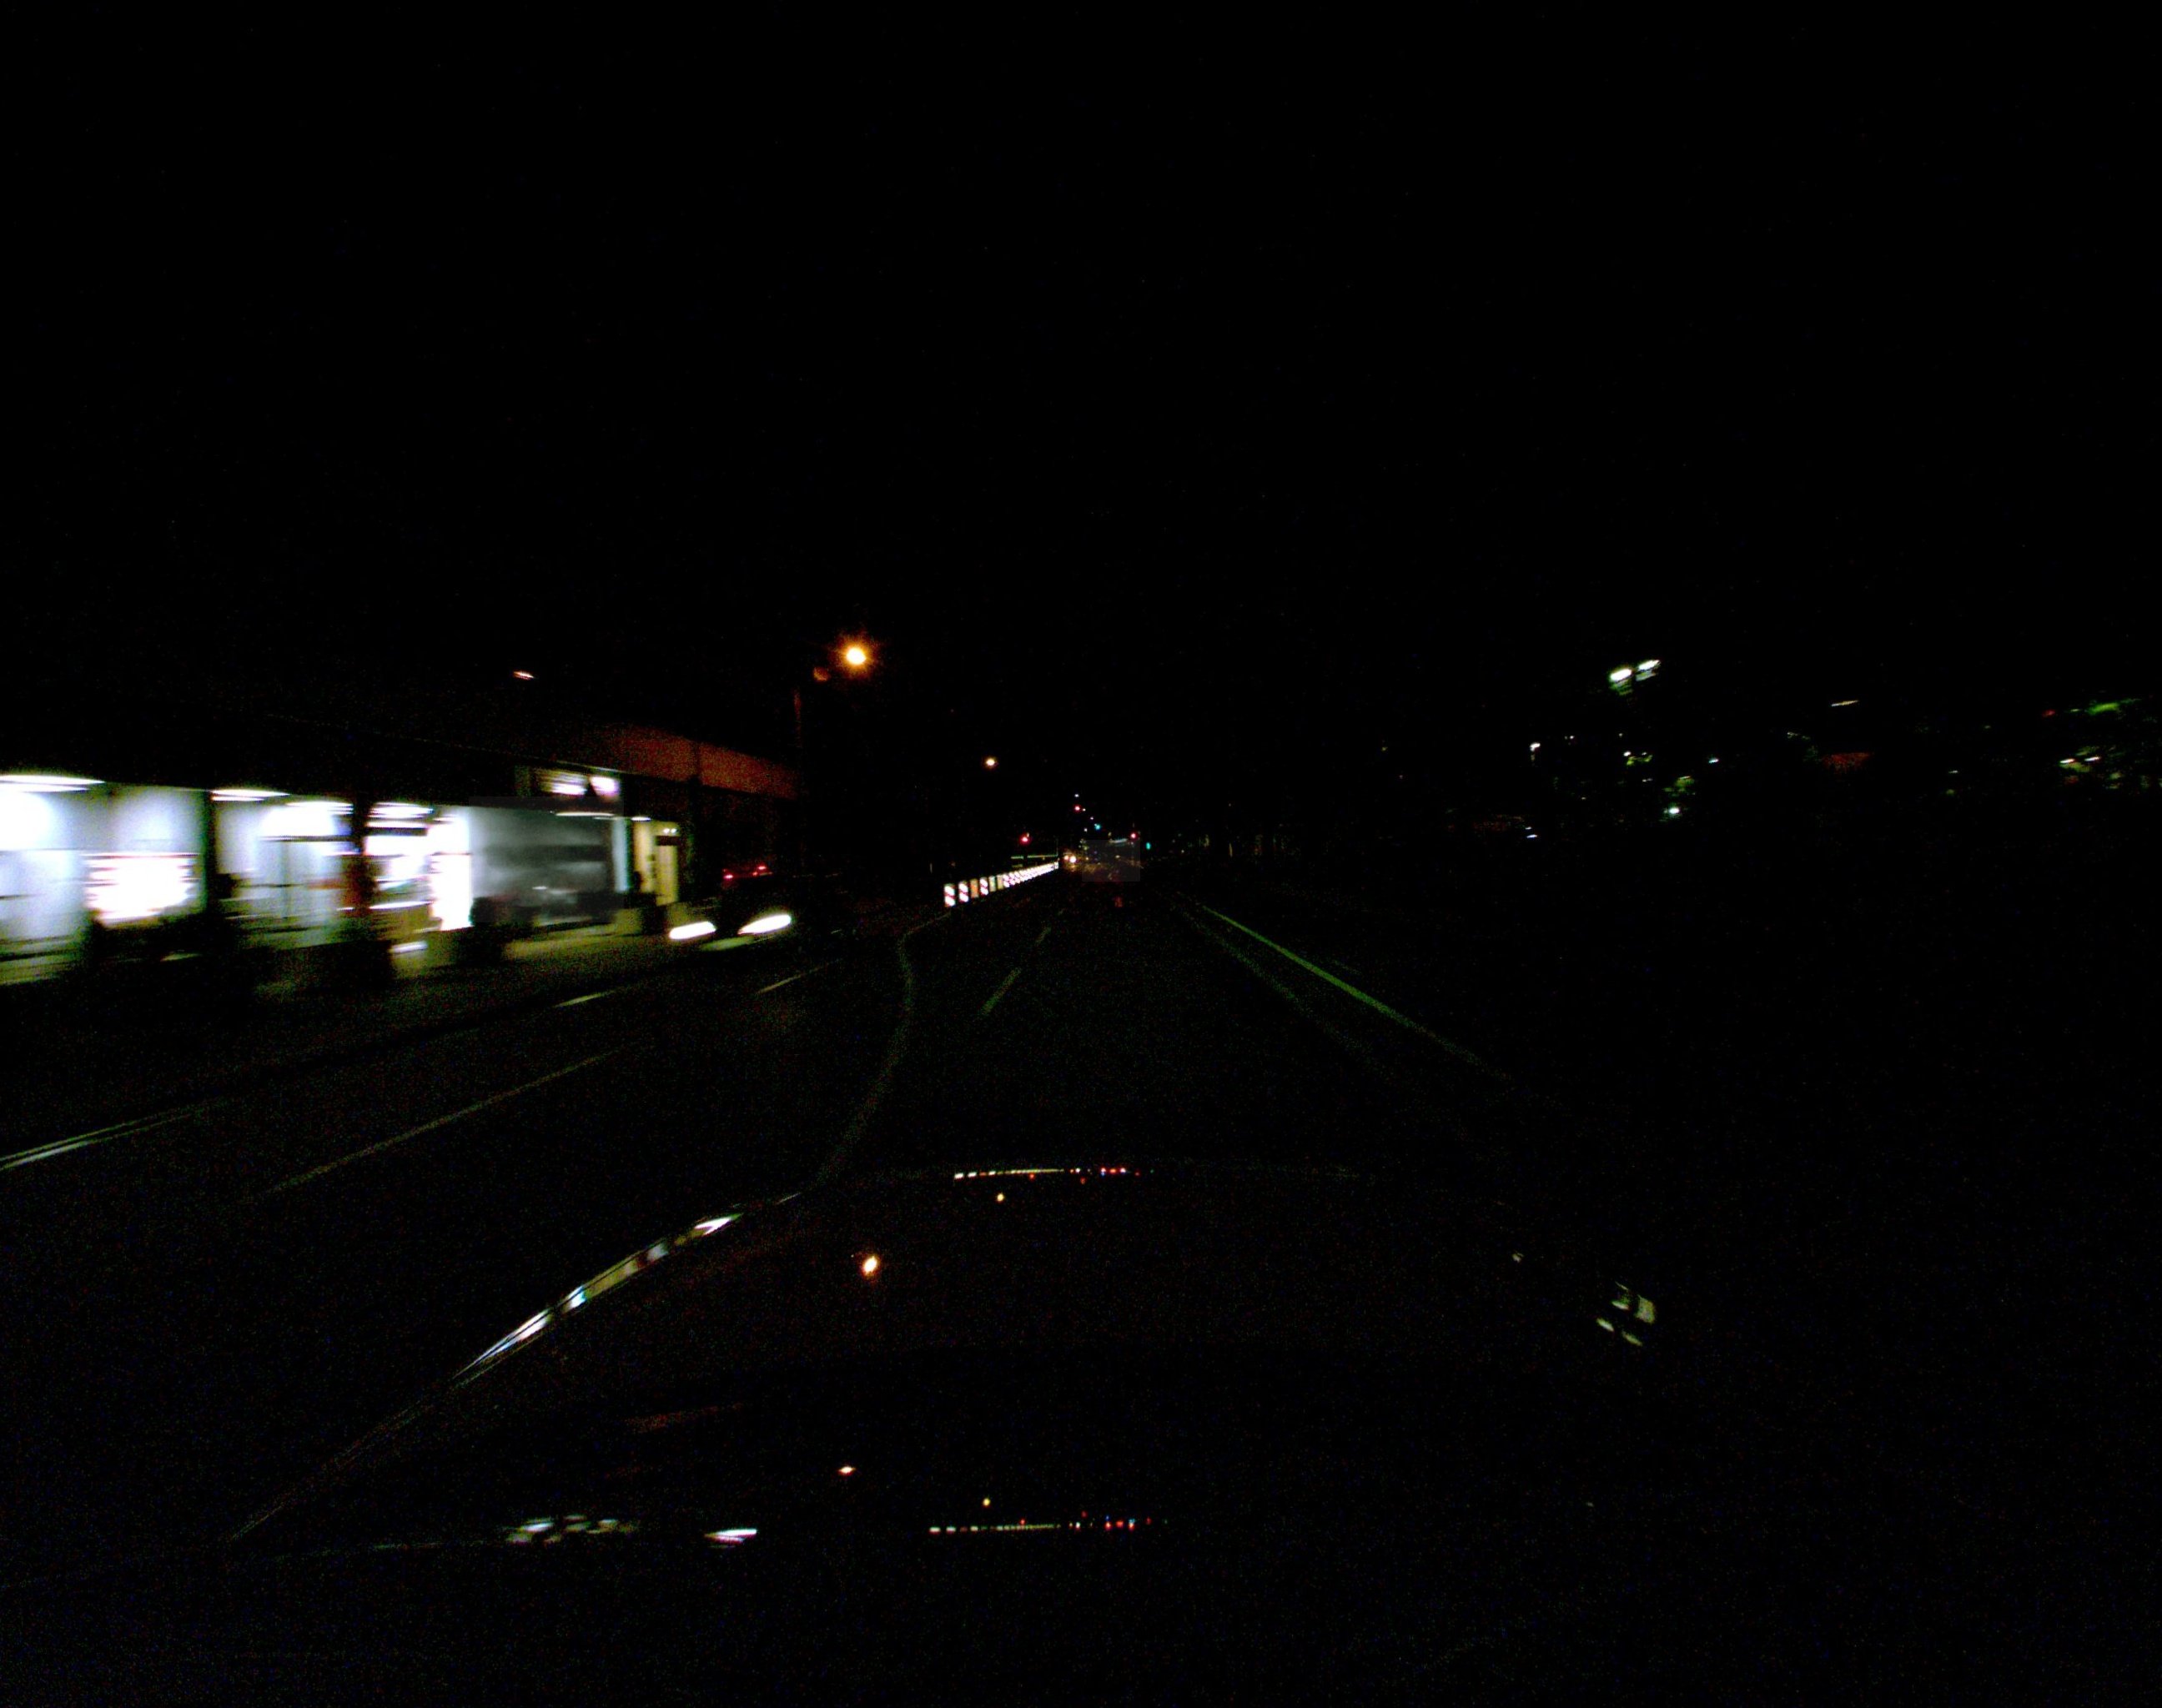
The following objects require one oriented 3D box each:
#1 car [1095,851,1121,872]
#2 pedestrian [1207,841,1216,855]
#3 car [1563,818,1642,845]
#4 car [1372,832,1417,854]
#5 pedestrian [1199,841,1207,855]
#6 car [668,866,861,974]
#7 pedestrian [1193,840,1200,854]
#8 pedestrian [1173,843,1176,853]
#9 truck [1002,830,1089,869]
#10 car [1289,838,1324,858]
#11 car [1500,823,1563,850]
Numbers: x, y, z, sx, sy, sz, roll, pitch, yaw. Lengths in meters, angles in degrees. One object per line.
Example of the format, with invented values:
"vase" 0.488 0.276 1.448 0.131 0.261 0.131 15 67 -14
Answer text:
"car" 2.009 0.514 59.376 1.798 1.494 4.732 -1 0 2
"pedestrian" 16.821 -0.725 105.129 0.897 1.769 0.907 -3 0 1
"car" 33.098 -1.382 51.894 1.883 1.512 4.892 -3 0 0
"car" 24.518 -0.835 63.921 1.778 1.533 3.996 -3 0 -3
"pedestrian" 15.740 -0.798 105.037 0.736 1.769 0.907 -3 0 1
"car" -5.304 1.025 14.257 1.661 1.428 4.000 -4 0 1
"pedestrian" 14.867 -0.861 104.955 0.711 1.769 0.907 -3 0 1
"pedestrian" 18.910 -1.181 164.781 0.486 2.013 0.551 -3 0 1
"truck" -4.134 -0.497 92.621 9.980 3.717 2.782 -4 0 34
"car" 17.696 -0.457 64.035 1.507 1.395 4.483 -3 0 1
"car" 28.347 -1.080 51.352 1.762 1.533 4.100 -3 0 2
